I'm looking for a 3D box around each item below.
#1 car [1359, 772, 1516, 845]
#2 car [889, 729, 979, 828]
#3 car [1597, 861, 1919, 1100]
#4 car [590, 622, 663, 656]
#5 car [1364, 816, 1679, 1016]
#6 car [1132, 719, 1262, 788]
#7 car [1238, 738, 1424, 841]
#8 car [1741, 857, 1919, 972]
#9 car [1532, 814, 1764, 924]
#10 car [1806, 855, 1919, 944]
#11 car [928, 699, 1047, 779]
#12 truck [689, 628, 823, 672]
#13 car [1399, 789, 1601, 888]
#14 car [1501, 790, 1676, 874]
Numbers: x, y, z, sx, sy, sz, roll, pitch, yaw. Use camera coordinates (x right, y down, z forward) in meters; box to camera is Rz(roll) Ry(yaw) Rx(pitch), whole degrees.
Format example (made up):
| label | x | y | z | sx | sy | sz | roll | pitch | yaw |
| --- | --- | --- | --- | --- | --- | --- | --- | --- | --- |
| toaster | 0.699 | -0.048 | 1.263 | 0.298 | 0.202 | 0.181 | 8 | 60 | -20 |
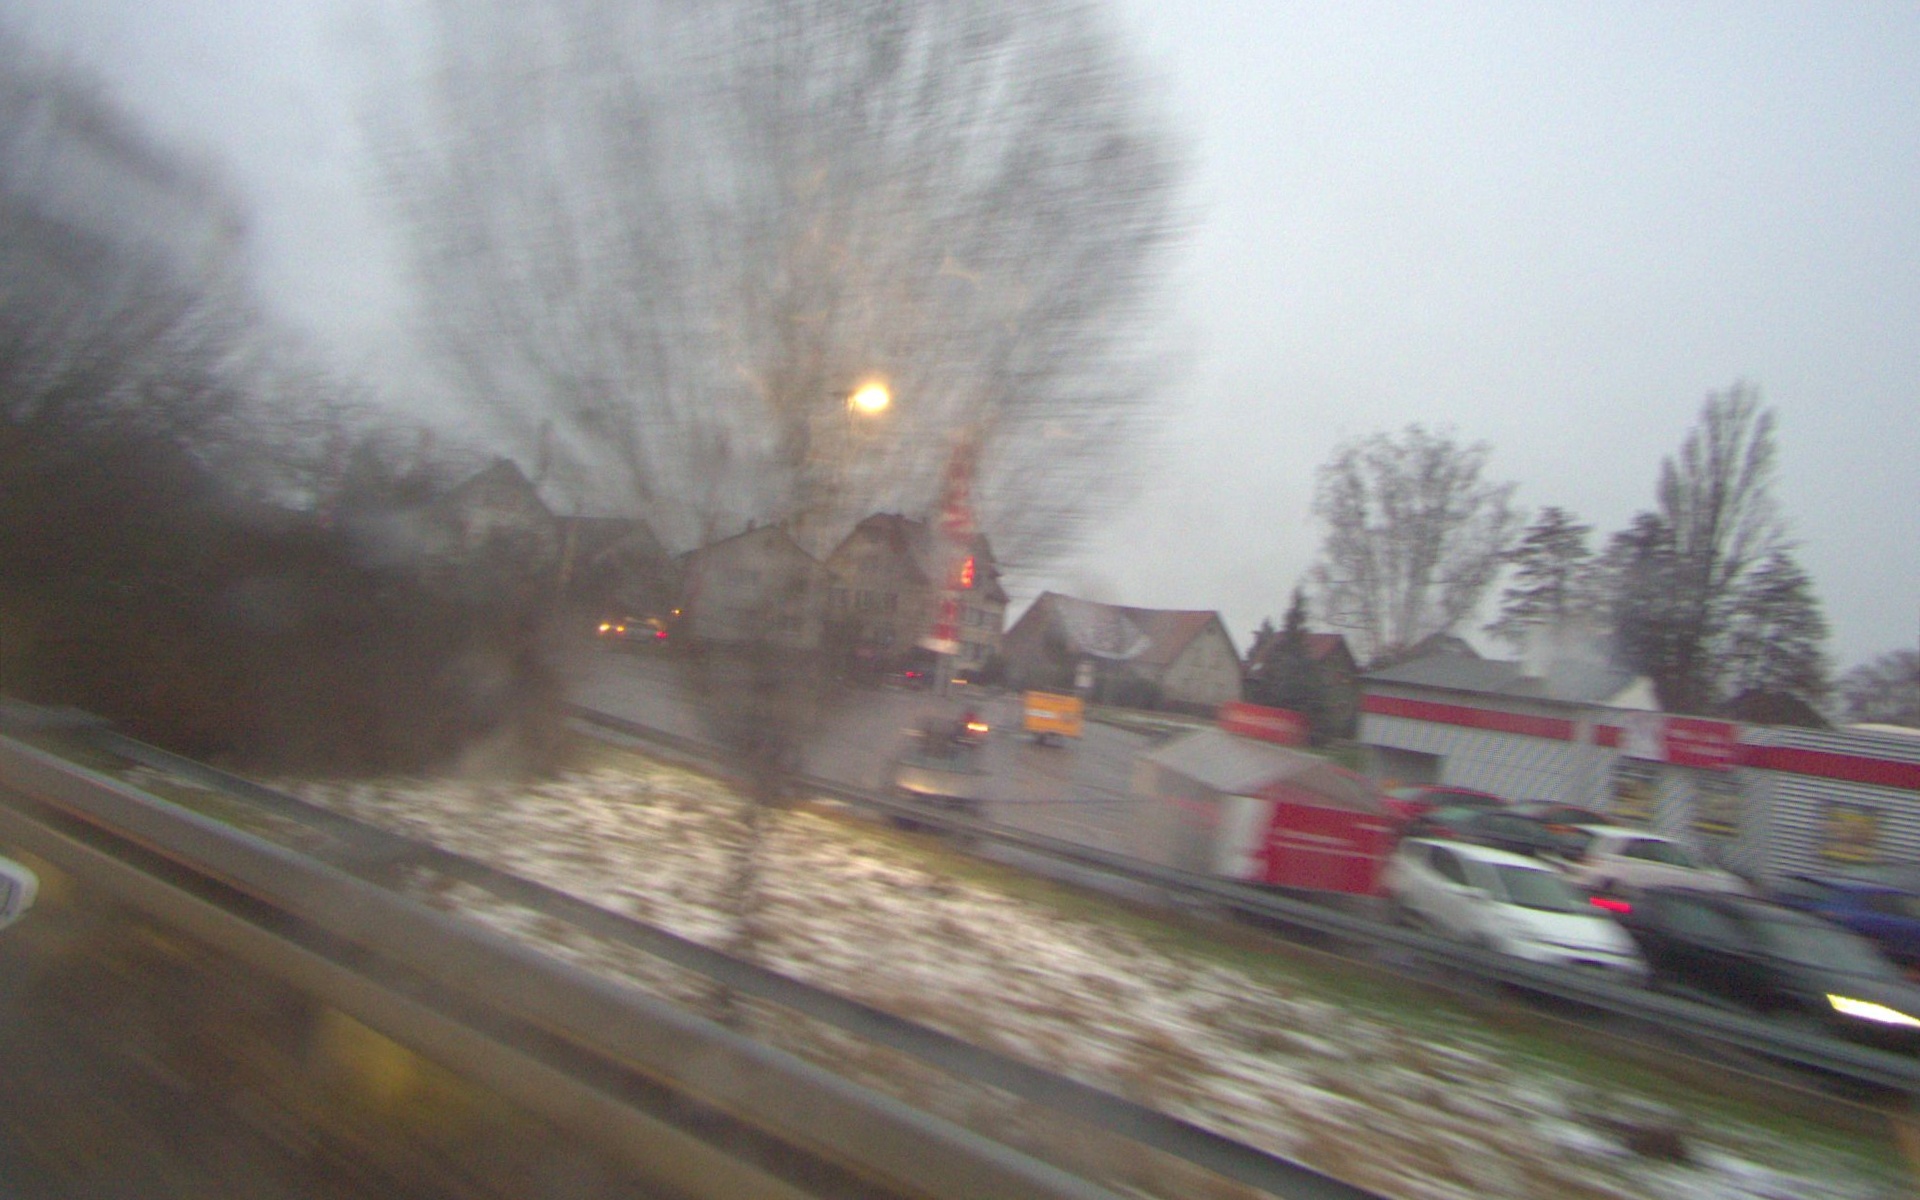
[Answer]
| label | x | y | z | sx | sy | sz | roll | pitch | yaw |
| --- | --- | --- | --- | --- | --- | --- | --- | --- | --- |
| car | 13.701 | 5.968 | 28.910 | 3.777 | 1.409 | 1.566 | 8 | -2 | -11 |
| car | -0.593 | 3.509 | 20.161 | 1.367 | 1.328 | 3.207 | 8 | -2 | -7 |
| car | 9.968 | 4.432 | 12.180 | 1.603 | 1.436 | 3.999 | 8 | -2 | -5 |
| car | -20.346 | 2.357 | 61.550 | 3.939 | 1.533 | 1.908 | 8 | -2 | -15 |
| car | 7.540 | 4.216 | 14.039 | 1.765 | 1.455 | 3.999 | 8 | -2 | -5 |
| car | 7.901 | 5.114 | 33.684 | 3.772 | 1.631 | 1.569 | 8 | -1 | -5 |
| car | 9.471 | 4.836 | 25.856 | 3.965 | 1.890 | 1.723 | 8 | -1 | -5 |
| car | 17.433 | 5.989 | 18.831 | 4.239 | 1.441 | 1.746 | 8 | -2 | -3 |
| car | 14.338 | 5.589 | 21.089 | 3.693 | 1.446 | 1.570 | 8 | -2 | -1 |
| car | 20.647 | 6.559 | 21.590 | 3.773 | 1.367 | 1.568 | 8 | -2 | -6 |
| car | 0.719 | 4.031 | 29.537 | 1.703 | 1.619 | 4.012 | 9 | -2 | -25 |
| truck | -13.827 | 3.391 | 68.310 | 8.544 | 1.836 | 2.405 | 9 | -2 | -20 |
| car | 12.414 | 5.481 | 23.298 | 3.691 | 1.446 | 1.571 | 8 | -2 | 3 |
| car | 16.562 | 6.108 | 26.574 | 3.777 | 1.517 | 1.566 | 8 | -2 | -11 |
